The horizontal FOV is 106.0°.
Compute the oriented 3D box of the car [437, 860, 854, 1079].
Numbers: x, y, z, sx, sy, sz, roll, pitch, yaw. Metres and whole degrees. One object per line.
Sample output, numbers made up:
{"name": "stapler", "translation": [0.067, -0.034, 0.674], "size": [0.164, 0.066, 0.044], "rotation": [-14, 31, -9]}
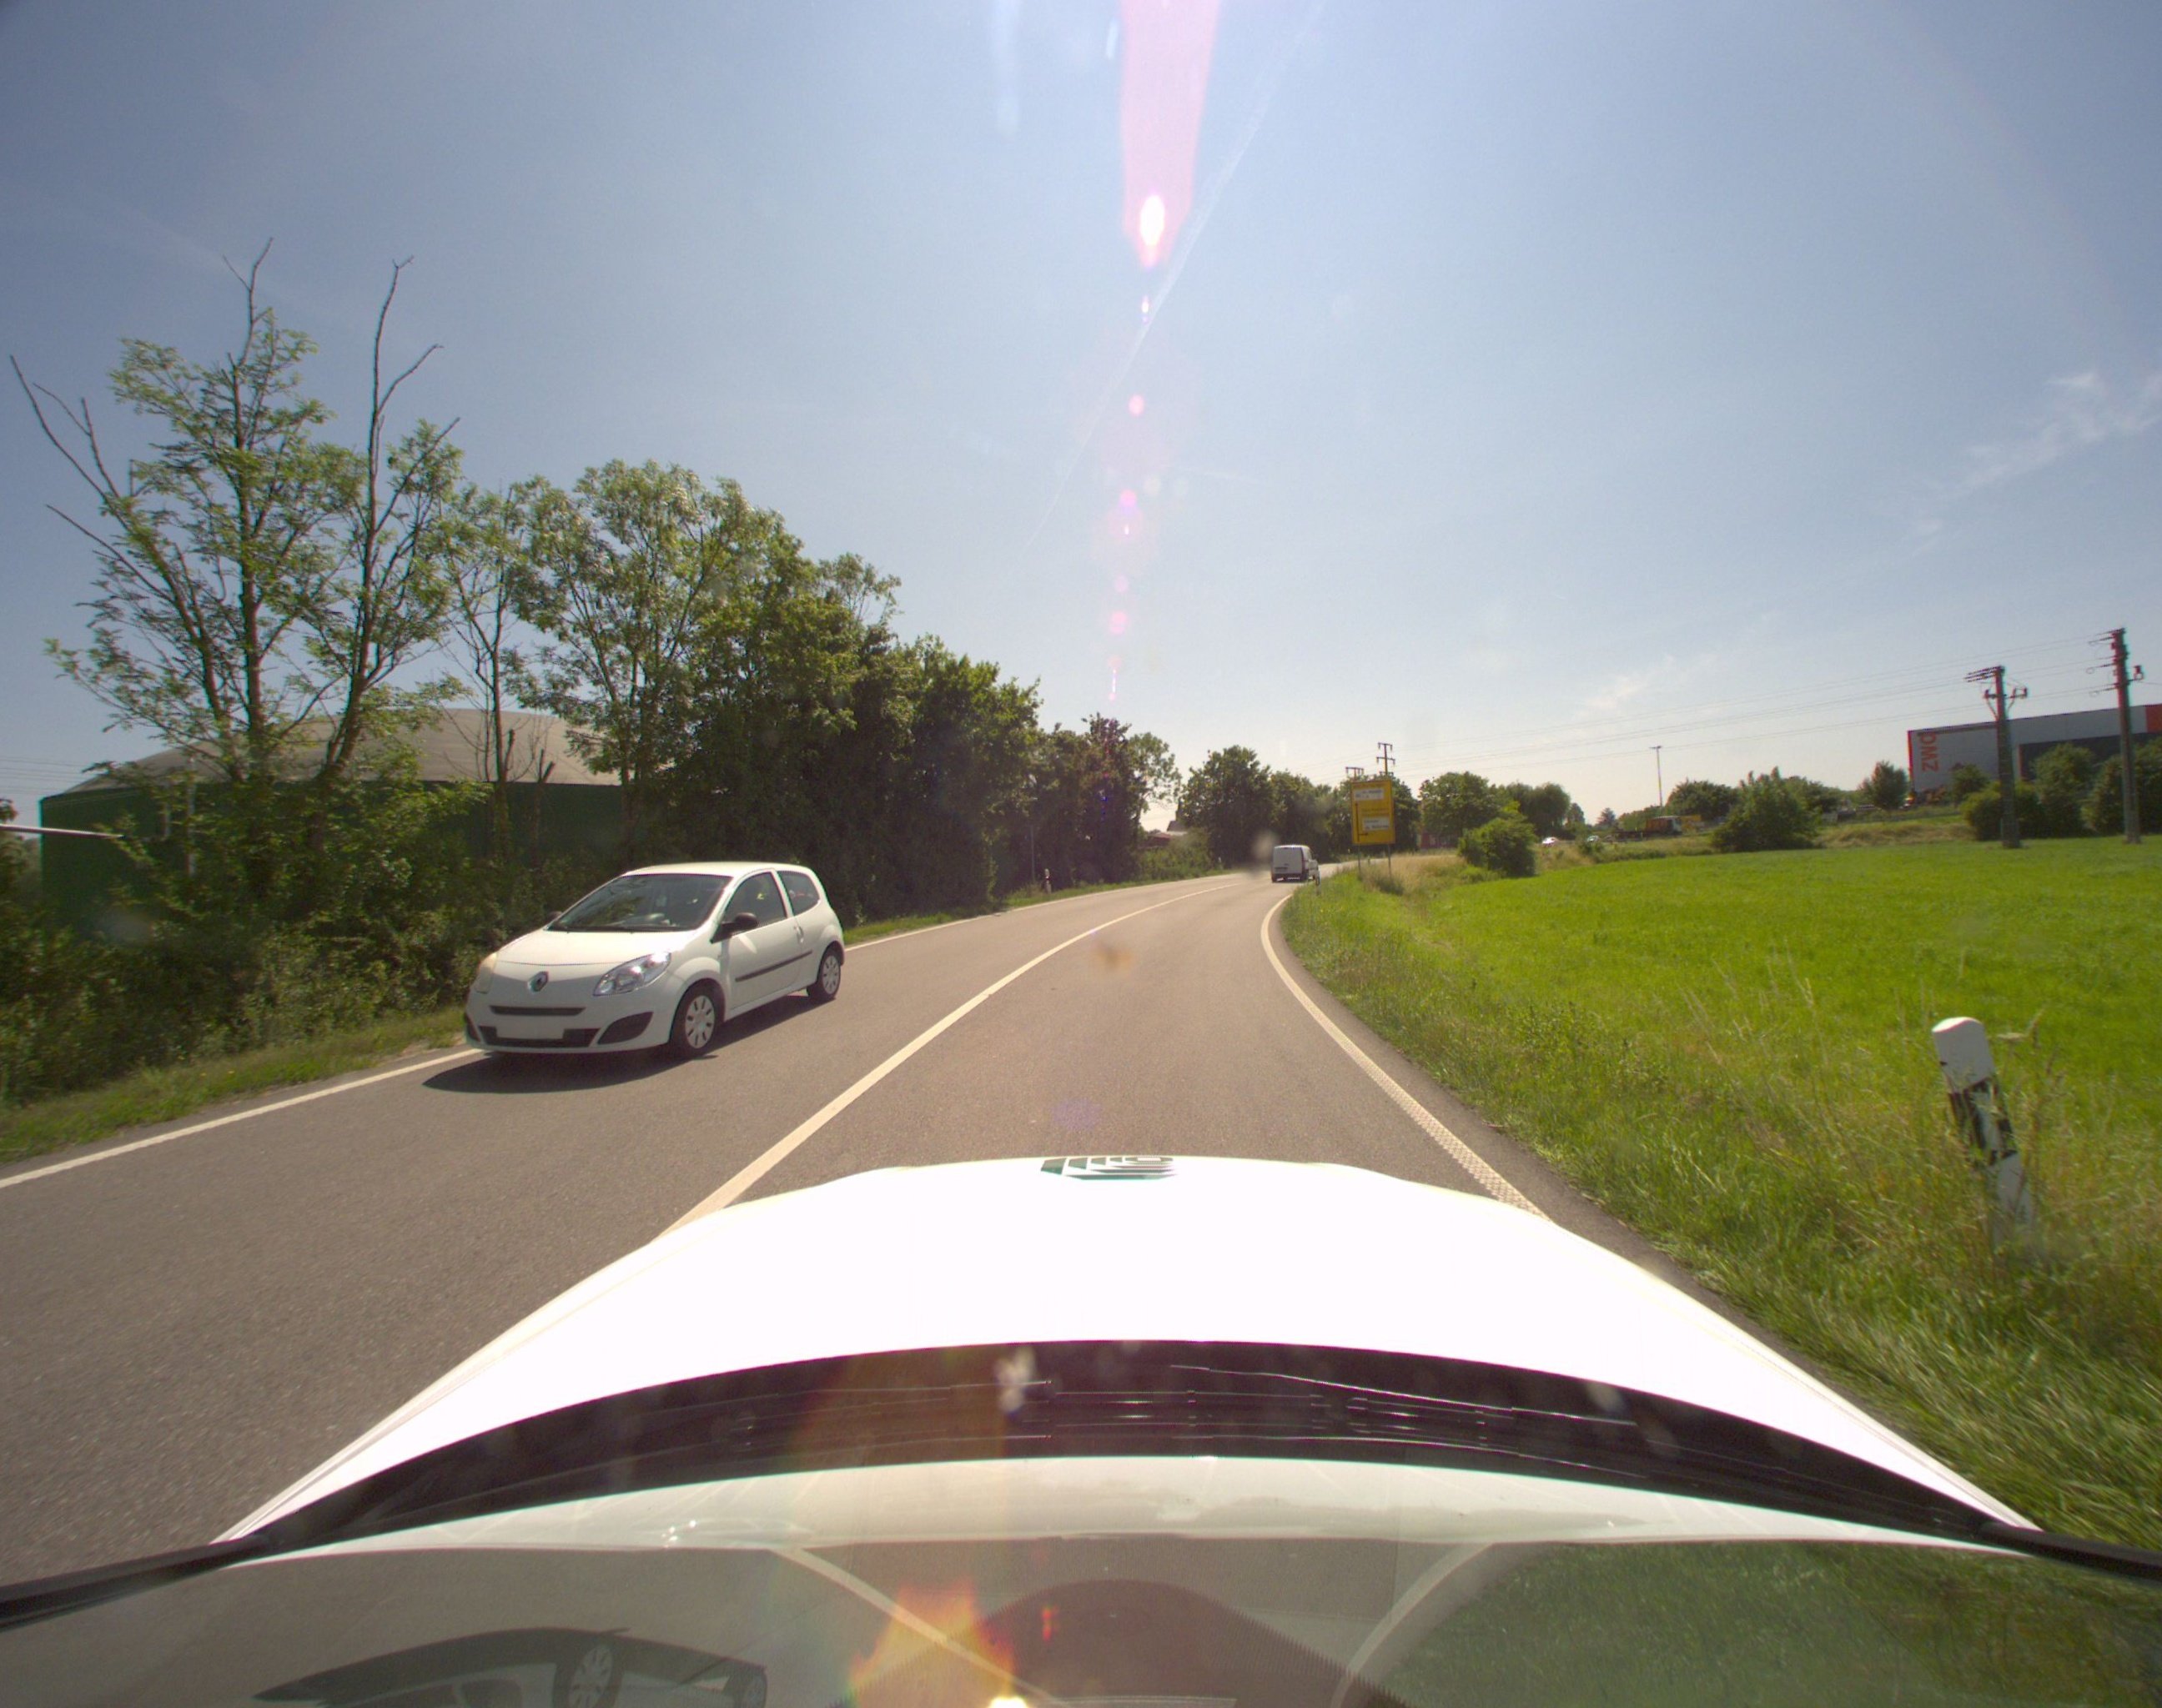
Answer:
{"name": "car", "translation": [-3.494, 0.803, 7.363], "size": [1.529, 1.443, 3.614], "rotation": [-1, 0, 6]}

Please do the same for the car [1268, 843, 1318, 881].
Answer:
{"name": "car", "translation": [10.634, 0.377, 40.689], "size": [1.887, 1.732, 3.843], "rotation": [-3, -1, 22]}

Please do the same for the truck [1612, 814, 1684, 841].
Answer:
{"name": "truck", "translation": [69.625, -3.182, 99.954], "size": [8.812, 3.137, 3.084], "rotation": [0, -1, -24]}
